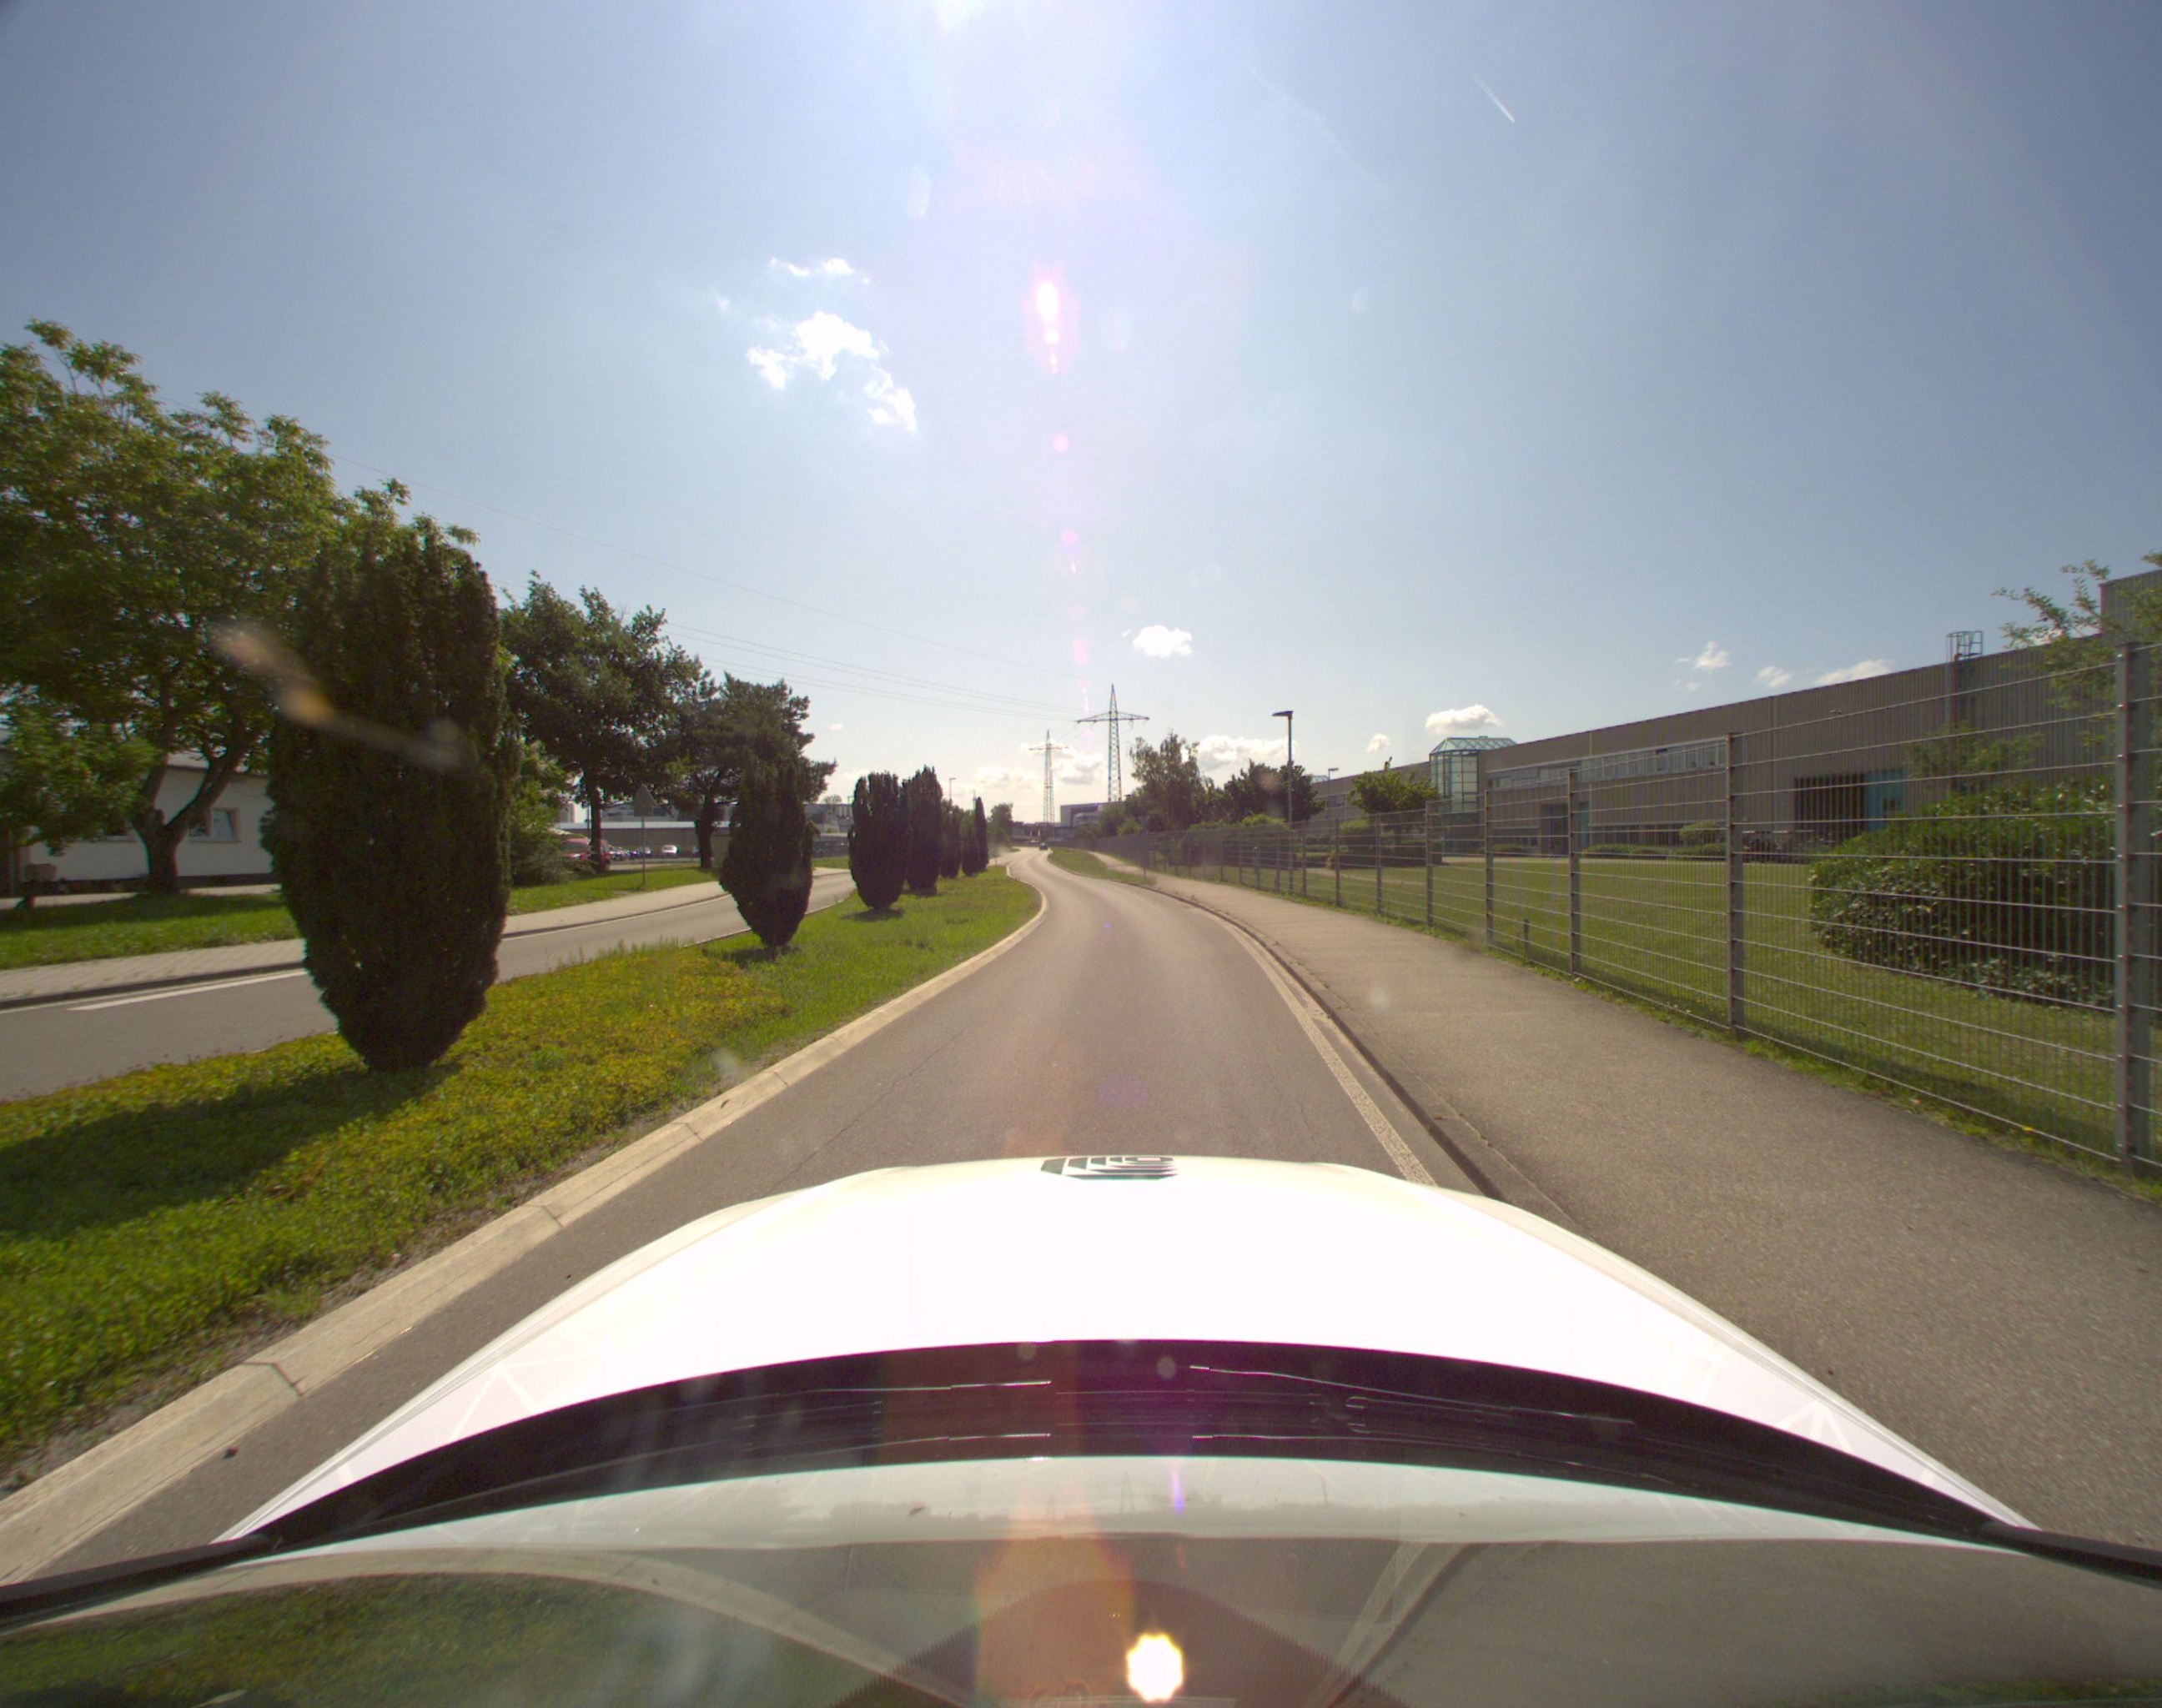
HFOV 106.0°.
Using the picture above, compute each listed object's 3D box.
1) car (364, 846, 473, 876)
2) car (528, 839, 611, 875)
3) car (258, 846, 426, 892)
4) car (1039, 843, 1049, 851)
[{"bbox_3d":[-35.074,0.330,43.245,3.989,1.525,1.929,0,1,-12],"label":"car"},{"bbox_3d":[-25.856,0.122,41.363,1.992,1.744,4.218,-1,1,-8],"label":"car"},{"bbox_3d":[-24.894,0.468,27.716,1.992,1.408,4.504,-1,0,-8],"label":"car"},{"bbox_3d":[-8.001,-1.515,175.707,2.009,1.508,3.993,-1,0,-5],"label":"car"}]
